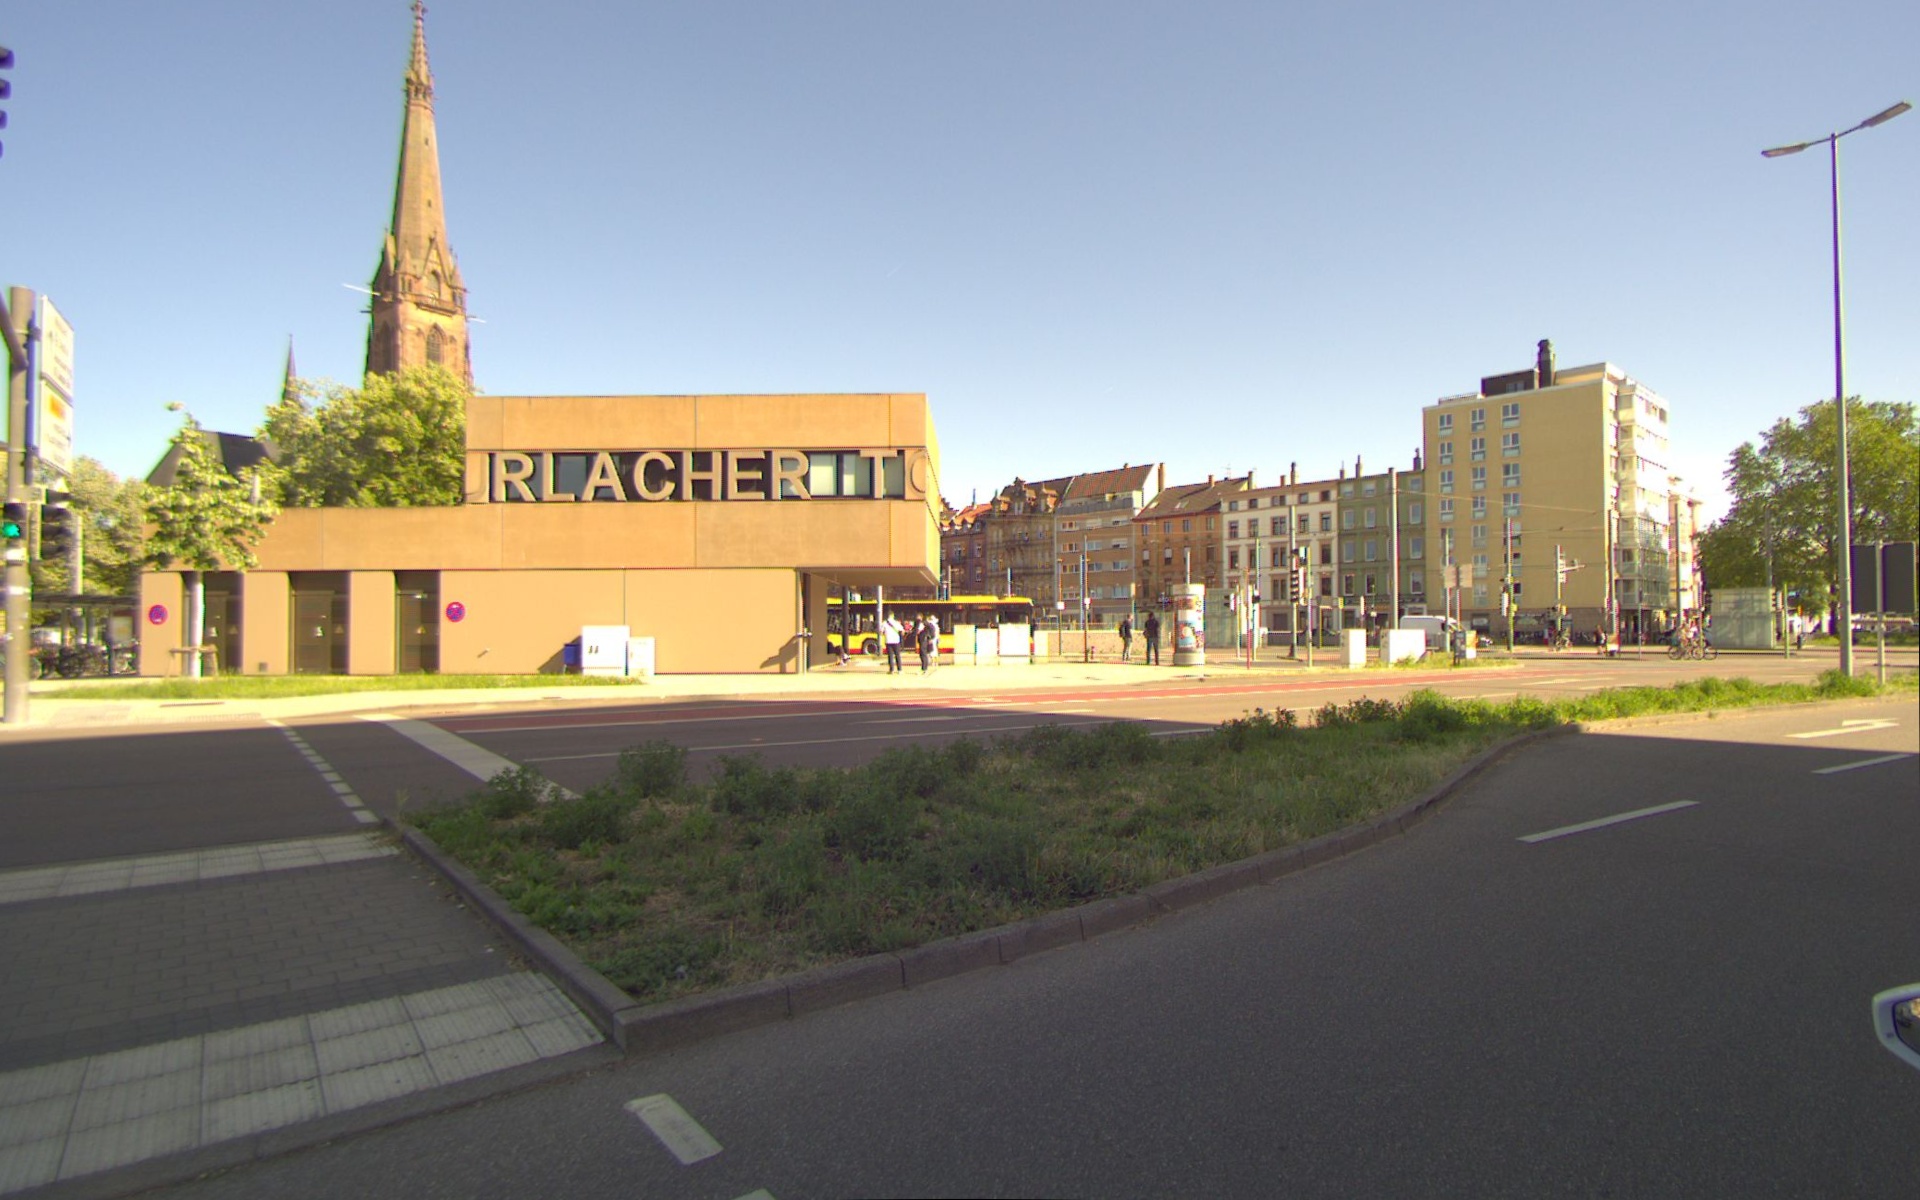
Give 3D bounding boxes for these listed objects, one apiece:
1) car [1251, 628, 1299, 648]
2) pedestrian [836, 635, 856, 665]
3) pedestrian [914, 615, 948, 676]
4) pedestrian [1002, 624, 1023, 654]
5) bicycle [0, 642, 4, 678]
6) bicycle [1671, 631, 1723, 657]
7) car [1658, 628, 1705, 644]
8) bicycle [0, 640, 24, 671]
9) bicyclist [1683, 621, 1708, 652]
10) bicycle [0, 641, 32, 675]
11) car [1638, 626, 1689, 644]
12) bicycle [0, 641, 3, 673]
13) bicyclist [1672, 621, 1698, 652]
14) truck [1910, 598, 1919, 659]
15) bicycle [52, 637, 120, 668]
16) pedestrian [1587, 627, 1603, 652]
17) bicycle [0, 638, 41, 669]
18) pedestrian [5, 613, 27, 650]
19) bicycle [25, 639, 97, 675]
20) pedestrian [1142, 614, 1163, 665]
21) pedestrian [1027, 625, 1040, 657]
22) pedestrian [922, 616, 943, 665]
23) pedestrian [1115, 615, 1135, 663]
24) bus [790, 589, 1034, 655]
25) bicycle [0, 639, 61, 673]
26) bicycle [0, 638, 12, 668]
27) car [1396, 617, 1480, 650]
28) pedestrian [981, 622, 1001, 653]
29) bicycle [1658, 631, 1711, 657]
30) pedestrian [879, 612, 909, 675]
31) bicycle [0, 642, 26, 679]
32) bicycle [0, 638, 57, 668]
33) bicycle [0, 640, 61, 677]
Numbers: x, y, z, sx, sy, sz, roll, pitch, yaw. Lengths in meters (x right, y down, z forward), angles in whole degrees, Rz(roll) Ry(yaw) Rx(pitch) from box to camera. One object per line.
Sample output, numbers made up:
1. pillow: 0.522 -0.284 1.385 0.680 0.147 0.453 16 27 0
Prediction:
1. car: 30.704 3.665 97.966 1.985 1.795 3.952 -2 0 -41
2. pedestrian: -3.902 1.705 34.421 0.563 0.979 0.509 2 -2 7
3. pedestrian: -0.840 1.316 29.133 0.739 1.745 0.639 3 -2 -26
4. pedestrian: 2.547 1.887 48.538 0.788 1.412 0.637 -1 -2 42
5. bicycle: -29.386 1.760 29.628 1.753 1.051 0.568 0 -2 -1
6. bicycle: 35.104 2.082 47.867 0.635 1.180 1.943 1 -1 -27
7. car: 64.023 3.213 89.173 3.228 1.334 1.516 -1 0 44
8. bicycle: -32.983 1.885 34.136 1.753 1.051 0.568 0 -2 -1
9. bicyclist: 35.098 1.717 47.912 0.635 1.463 0.771 1 -1 -28
10. bicycle: -29.711 1.777 30.894 1.753 1.051 0.568 0 -2 -1
11. car: 60.651 2.993 86.609 3.397 1.530 1.682 -1 -2 45
12. bicycle: -32.967 1.883 33.371 1.753 1.051 0.568 0 -2 -1
13. bicyclist: 34.162 1.721 47.331 0.635 1.463 0.771 1 -1 -27
14. truck: 40.633 1.099 38.603 6.756 2.344 2.219 0 -1 -8
15. bicycle: -29.710 1.787 34.168 1.753 1.051 0.568 0 -2 -1
16. pedestrian: 36.024 2.238 56.977 0.564 1.427 0.588 -2 1 -42
17. bicycle: -32.974 1.832 34.743 1.753 1.051 0.568 0 -2 -1
18. pedestrian: -46.481 1.551 49.457 0.531 1.744 0.678 -1 -5 -24
19. bicycle: -27.314 1.728 30.536 1.752 1.051 0.568 0 -2 7
20. pedestrian: 6.855 1.390 35.727 0.634 1.765 0.790 2 0 14
21. pedestrian: 3.614 1.989 49.458 0.627 1.555 0.964 0 -1 4
22. pedestrian: -0.996 1.473 36.568 0.634 1.745 0.790 2 -2 2
23. pedestrian: 6.182 1.458 37.560 0.634 1.745 0.791 2 -2 14
24. bus: -2.425 1.156 52.279 12.338 3.258 2.975 0 -1 1
25. bicycle: -29.704 1.775 31.895 1.753 1.051 0.568 0 -2 -1
26. bicycle: -35.014 1.878 35.855 1.753 1.051 0.568 0 -2 -1
27. car: 36.068 2.499 75.890 1.986 2.443 5.435 1 -2 -43
28. pedestrian: 1.559 1.856 49.842 0.631 1.555 0.796 -1 -1 41
29. bicycle: 34.144 2.058 47.366 0.635 1.180 1.943 1 -1 -27
30. pedestrian: -1.871 1.248 28.572 0.584 1.745 0.791 2 -2 14
31. bicycle: -27.603 1.700 28.402 1.753 1.051 0.568 0 -2 -1
32. bicycle: -32.974 1.855 35.378 1.753 1.051 0.568 0 -2 -1
33. bicycle: -27.441 1.703 29.354 1.753 1.051 0.568 0 -2 -1
